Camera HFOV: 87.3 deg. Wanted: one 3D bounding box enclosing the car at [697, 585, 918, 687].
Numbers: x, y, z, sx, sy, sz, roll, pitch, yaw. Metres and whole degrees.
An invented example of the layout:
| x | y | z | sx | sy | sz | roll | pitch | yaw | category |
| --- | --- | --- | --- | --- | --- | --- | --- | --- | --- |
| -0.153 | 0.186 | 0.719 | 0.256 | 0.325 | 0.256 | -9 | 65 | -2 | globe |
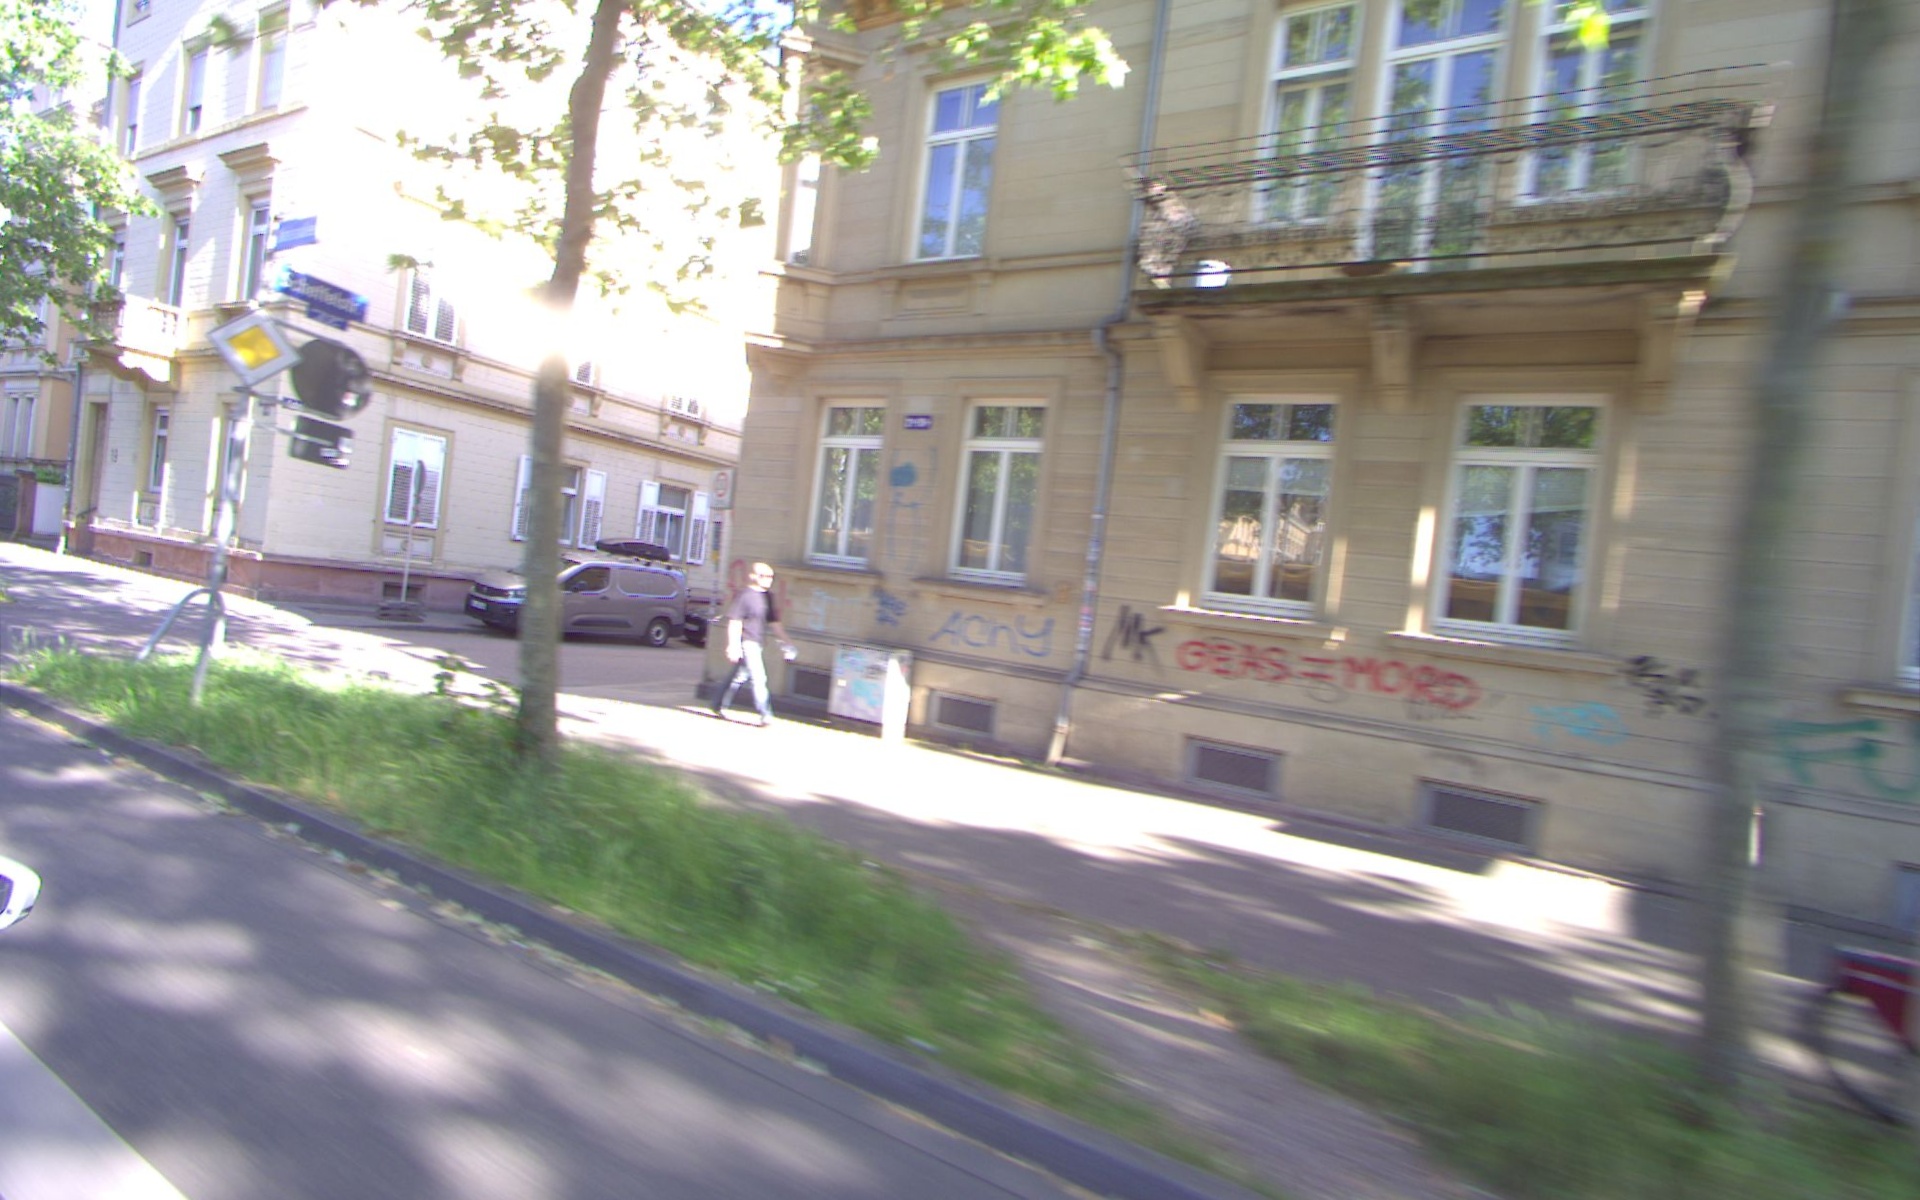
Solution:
| x | y | z | sx | sy | sz | roll | pitch | yaw | category |
| --- | --- | --- | --- | --- | --- | --- | --- | --- | --- |
| -2.679 | 0.719 | 18.555 | 1.622 | 1.523 | 4.061 | 7 | 0 | 33 | car |

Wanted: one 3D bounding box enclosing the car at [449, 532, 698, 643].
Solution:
| x | y | z | sx | sy | sz | roll | pitch | yaw | category |
| --- | --- | --- | --- | --- | --- | --- | --- | --- | --- |
| -8.128 | -0.189 | 21.585 | 1.891 | 1.794 | 4.585 | 7 | -1 | 35 | car |

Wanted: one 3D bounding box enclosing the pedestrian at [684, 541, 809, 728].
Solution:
| x | y | z | sx | sy | sz | roll | pitch | yaw | category |
| --- | --- | --- | --- | --- | --- | --- | --- | --- | --- |
| -2.286 | 0.369 | 10.777 | 0.943 | 1.848 | 0.565 | 7 | -1 | 29 | pedestrian |

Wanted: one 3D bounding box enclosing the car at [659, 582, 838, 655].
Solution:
| x | y | z | sx | sy | sz | roll | pitch | yaw | category |
| --- | --- | --- | --- | --- | --- | --- | --- | --- | --- |
| -5.353 | 0.524 | 26.022 | 1.817 | 1.363 | 4.373 | 7 | -1 | 35 | car |
